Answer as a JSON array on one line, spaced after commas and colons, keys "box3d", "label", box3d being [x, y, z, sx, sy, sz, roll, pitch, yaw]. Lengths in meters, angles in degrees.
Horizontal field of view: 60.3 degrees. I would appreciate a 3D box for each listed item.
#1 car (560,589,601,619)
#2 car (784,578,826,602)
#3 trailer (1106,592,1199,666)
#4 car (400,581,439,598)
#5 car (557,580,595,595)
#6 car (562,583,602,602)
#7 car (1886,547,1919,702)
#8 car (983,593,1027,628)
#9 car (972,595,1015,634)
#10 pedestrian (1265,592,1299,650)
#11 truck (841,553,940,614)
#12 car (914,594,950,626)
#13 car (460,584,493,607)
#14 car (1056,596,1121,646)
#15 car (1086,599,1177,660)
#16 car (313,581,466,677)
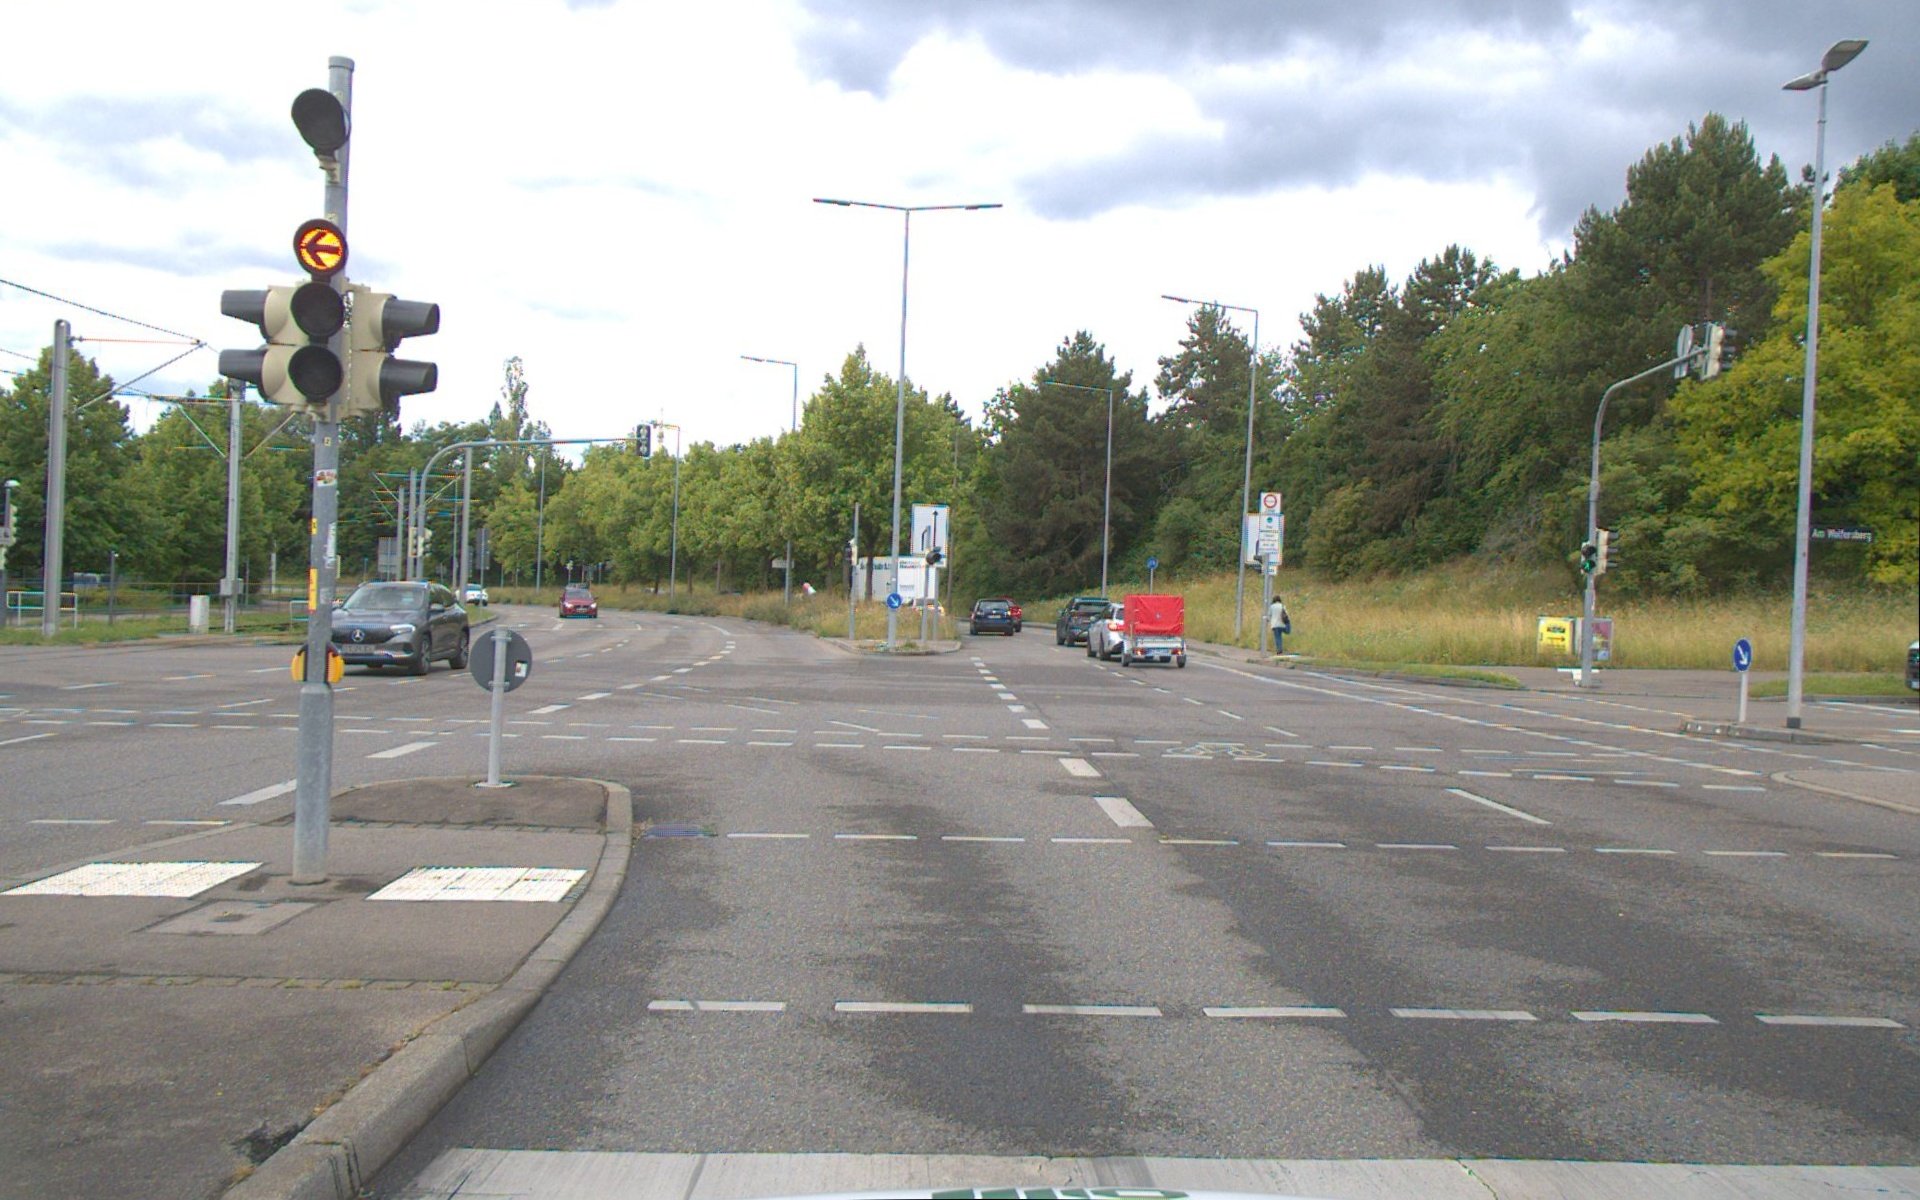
[{"box3d": [-19.338, 0.202, 84.170, 1.753, 1.468, 4.404, 0, 0, -17], "label": "car"}, {"box3d": [-10.639, -0.674, 113.454, 1.753, 1.573, 3.997, 1, 0, -22], "label": "car"}, {"box3d": [4.511, 0.659, 39.092, 1.729, 1.644, 3.043, 1, 0, -2], "label": "trailer"}, {"box3d": [-53.167, -1.046, 162.693, 3.945, 1.573, 1.777, 1, 0, 37], "label": "car"}, {"box3d": [-40.946, -1.289, 176.386, 1.744, 1.573, 4.018, 1, 0, 29], "label": "car"}, {"box3d": [-33.529, -0.672, 146.802, 1.769, 1.573, 3.963, 1, 1, -42], "label": "car"}, {"box3d": [20.332, 0.468, 30.093, 5.772, 2.830, 2.135, 0, 0, -1], "label": "car"}, {"box3d": [2.093, 0.480, 77.993, 1.742, 1.573, 4.023, -1, 1, -3], "label": "car"}, {"box3d": [1.476, 0.602, 71.027, 1.741, 1.573, 4.026, 1, 0, 2], "label": "car"}, {"box3d": [9.321, 0.608, 47.934, 0.797, 1.656, 0.790, 1, 0, -1], "label": "pedestrian"}, {"box3d": [-4.275, -0.984, 98.605, 2.699, 3.387, 11.342, 1, 0, -19], "label": "truck"}, {"box3d": [-1.481, 0.510, 86.359, 1.742, 1.573, 4.023, 1, 0, -2], "label": "car"}, {"box3d": [-35.778, -0.353, 122.340, 1.805, 1.657, 4.391, 0, 0, -25], "label": "car"}, {"box3d": [4.297, 0.689, 55.938, 1.742, 1.573, 4.023, 1, 0, -2], "label": "car"}, {"box3d": [4.380, 0.728, 42.849, 1.742, 1.446, 4.457, 1, 0, -2], "label": "car"}, {"box3d": [-10.177, 0.469, 29.786, 1.744, 1.573, 4.218, 1, 0, -7], "label": "car"}]
